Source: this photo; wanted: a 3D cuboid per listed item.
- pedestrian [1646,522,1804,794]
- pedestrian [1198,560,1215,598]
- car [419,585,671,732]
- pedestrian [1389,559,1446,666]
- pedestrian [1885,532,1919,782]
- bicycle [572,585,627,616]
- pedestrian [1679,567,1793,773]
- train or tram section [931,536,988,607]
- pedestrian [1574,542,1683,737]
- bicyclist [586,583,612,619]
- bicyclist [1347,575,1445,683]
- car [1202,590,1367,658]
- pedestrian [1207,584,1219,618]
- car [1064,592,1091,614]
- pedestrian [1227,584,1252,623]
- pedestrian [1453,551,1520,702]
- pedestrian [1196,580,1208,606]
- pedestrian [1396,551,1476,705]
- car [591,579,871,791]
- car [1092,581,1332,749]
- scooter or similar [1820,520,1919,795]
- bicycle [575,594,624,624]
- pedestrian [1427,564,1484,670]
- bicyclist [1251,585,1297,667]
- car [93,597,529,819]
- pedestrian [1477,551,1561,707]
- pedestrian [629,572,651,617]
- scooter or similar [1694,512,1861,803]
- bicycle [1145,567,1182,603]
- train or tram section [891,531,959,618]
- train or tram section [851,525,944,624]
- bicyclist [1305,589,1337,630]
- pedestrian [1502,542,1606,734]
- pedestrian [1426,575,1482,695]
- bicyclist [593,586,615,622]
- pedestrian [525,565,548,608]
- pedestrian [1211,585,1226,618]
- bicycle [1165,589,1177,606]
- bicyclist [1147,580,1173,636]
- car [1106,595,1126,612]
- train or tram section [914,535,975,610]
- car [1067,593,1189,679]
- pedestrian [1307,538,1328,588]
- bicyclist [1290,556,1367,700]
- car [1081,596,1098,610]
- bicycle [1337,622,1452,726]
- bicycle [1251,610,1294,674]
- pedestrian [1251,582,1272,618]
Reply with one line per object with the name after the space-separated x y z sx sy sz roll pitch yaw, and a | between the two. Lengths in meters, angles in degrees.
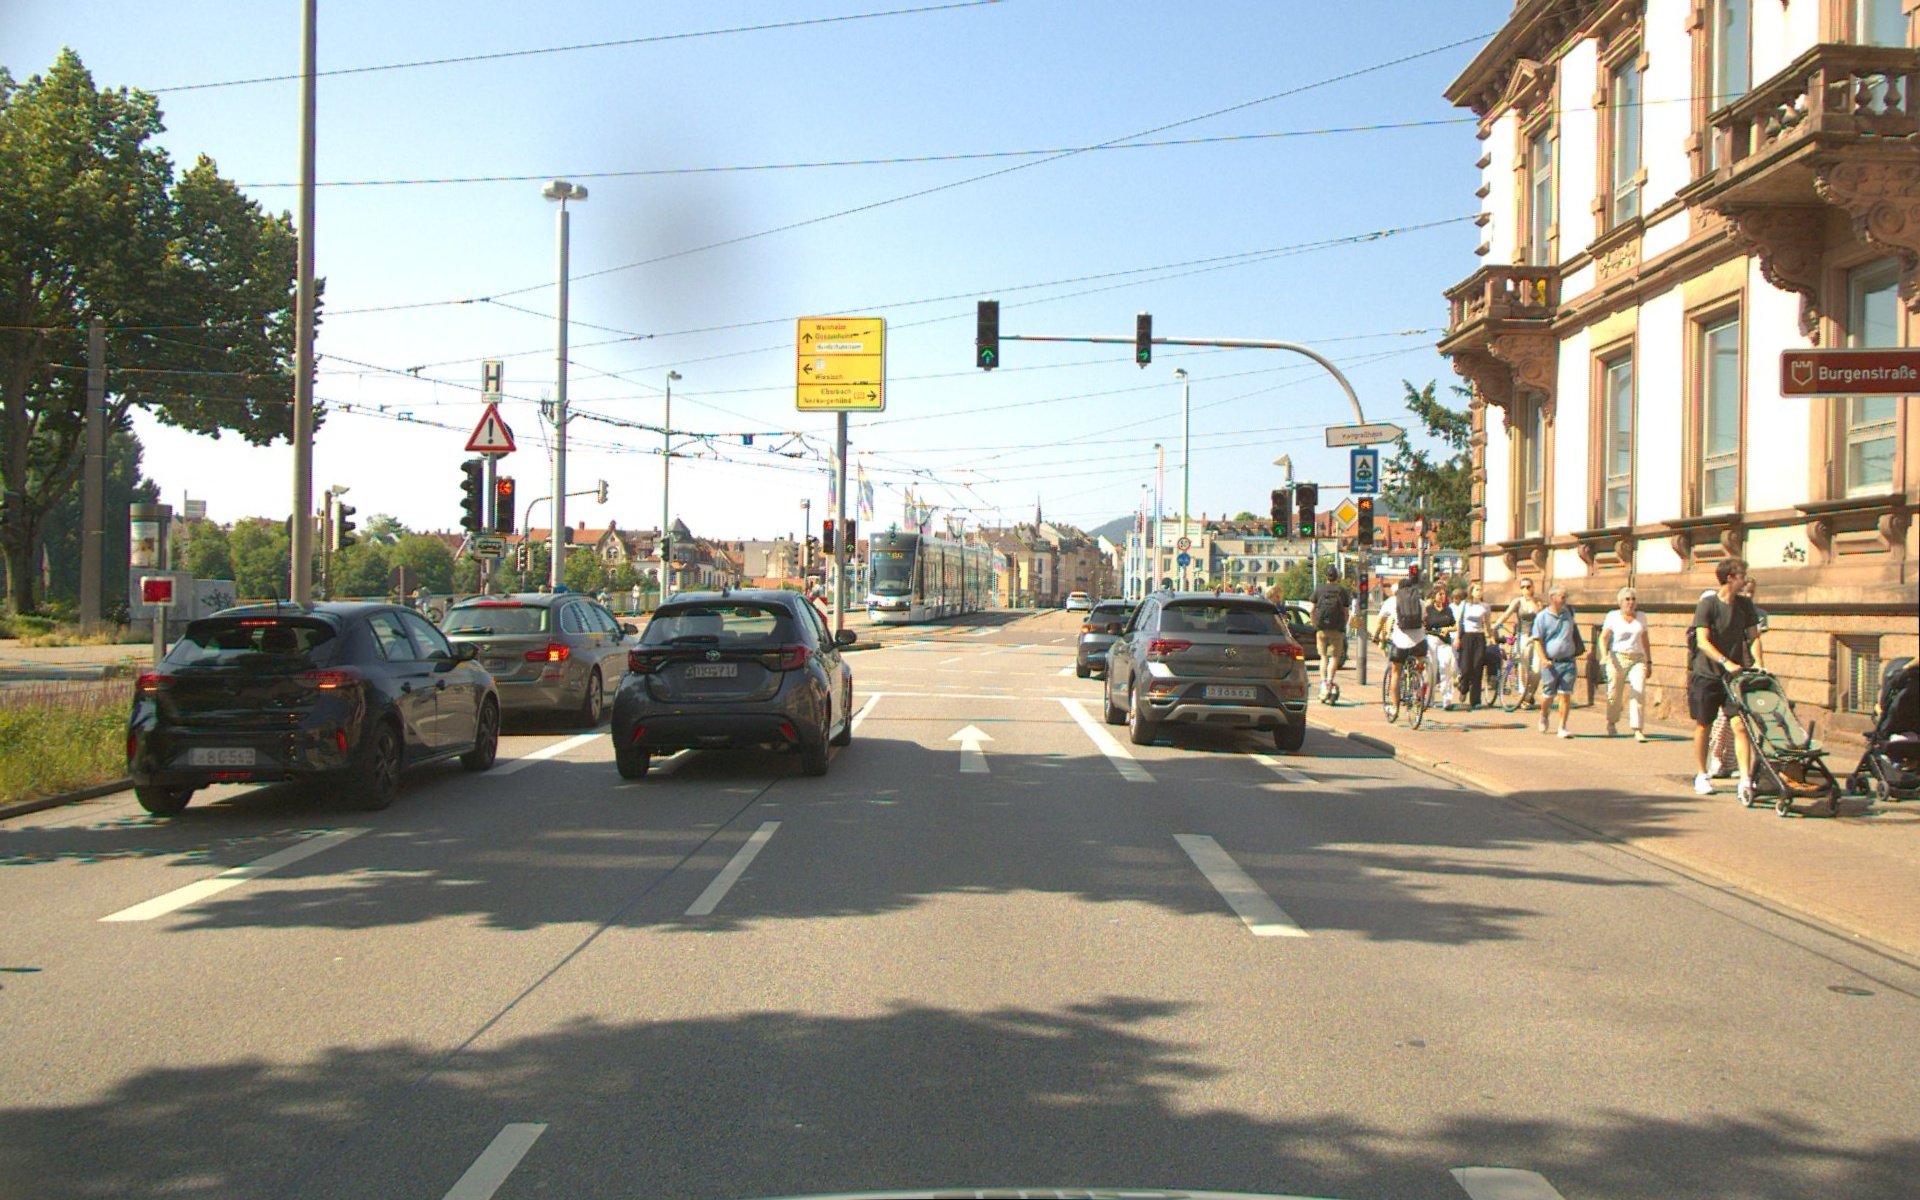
5.989 0.437 12.992 0.795 2.049 0.815 -2 0 -1 | pedestrian
13.462 -1.159 90.329 0.786 2.049 0.954 1 -1 -1 | pedestrian
-4.740 0.587 19.620 1.712 1.512 4.748 -1 0 1 | car
7.803 0.217 28.226 0.691 1.783 0.903 0 -1 -2 | pedestrian
7.385 0.407 12.041 0.795 1.824 0.815 -2 0 -1 | pedestrian
-14.925 0.014 68.475 2.201 1.301 0.737 0 0 -18 | bicycle
6.649 0.587 14.198 0.690 1.724 0.629 0 -1 2 | pedestrian
0.047 -1.665 96.381 2.418 3.843 11.857 0 1 4 | train or tram section
7.275 0.420 18.028 0.795 2.049 0.815 -2 0 -1 | pedestrian
-14.952 0.051 68.508 0.987 1.474 0.812 0 0 -17 | bicyclist
5.151 0.330 19.582 0.902 1.241 0.972 0 0 -1 | bicyclist
7.718 0.527 39.197 1.967 1.461 3.971 2 2 45 | car
13.495 0.049 88.298 0.538 1.830 0.646 1 -1 -1 | pedestrian
8.451 0.214 118.983 1.766 1.494 4.001 -1 -1 2 | car
13.045 0.181 77.204 0.965 1.781 0.930 1 -1 -1 | pedestrian
7.348 0.360 23.088 0.647 2.049 0.699 -2 0 -1 | pedestrian
16.687 -0.499 114.252 0.641 1.774 0.978 1 1 -1 | pedestrian
6.547 0.376 22.760 0.795 2.049 0.815 -2 0 -1 | pedestrian
-1.870 0.645 14.749 1.871 1.567 4.000 -2 0 0 | car
2.595 0.611 17.963 1.890 1.542 3.992 2 0 -1 | car
7.344 0.425 12.908 0.678 2.049 1.095 0 0 -1 | scooter or similar
-15.096 0.369 69.276 1.938 1.230 0.636 0 0 -18 | bicycle
8.537 0.284 28.501 0.691 1.800 0.903 0 0 -2 | pedestrian
6.236 0.504 32.868 0.758 1.580 1.060 1 0 3 | bicyclist
-4.767 0.703 12.814 1.756 1.436 4.000 0 0 1 | car
7.562 0.377 22.394 0.795 2.049 0.815 -2 0 -1 | pedestrian
-14.692 -0.242 75.951 0.884 2.049 0.830 0 0 -17 | pedestrian
5.994 0.400 12.181 0.678 2.049 1.095 0 0 -1 | scooter or similar
6.577 -0.485 53.639 0.776 1.115 3.745 0 1 0 | bicycle
-1.550 -1.189 77.605 2.484 3.843 9.174 0 1 3 | train or tram section
-2.468 -1.061 68.716 2.483 3.843 9.177 0 1 6 | train or tram section
13.747 0.345 62.998 1.057 1.499 0.801 2 1 9 | bicyclist
6.556 0.407 18.287 0.795 2.049 0.815 -2 0 -1 | pedestrian
8.071 0.561 27.057 0.622 1.924 0.903 0 0 -2 | pedestrian
-14.920 0.170 69.337 0.811 1.519 0.872 0 0 -17 | bicyclist
-17.021 -0.552 66.457 0.821 1.726 1.093 0 0 -17 | pedestrian
13.926 0.094 89.024 0.681 1.746 0.731 1 -1 -1 | pedestrian
15.603 -0.173 122.494 0.680 1.214 2.079 0 -1 1 | bicycle
6.381 0.245 52.801 0.659 1.774 1.150 0 0 0 | bicyclist
14.672 0.338 155.447 1.765 1.494 4.003 -1 -1 7 | car
-0.737 -1.436 86.824 2.353 3.745 9.625 0 1 4 | train or tram section
3.093 0.631 31.236 1.952 1.512 4.001 0 0 1 | car
13.770 -1.417 63.760 0.757 1.888 0.645 0 0 8 | pedestrian
5.301 0.392 23.841 0.922 2.049 0.830 0 0 -1 | bicyclist
16.120 0.374 206.057 1.952 1.747 4.001 1 0 3 | car
5.143 0.843 19.700 0.763 1.121 2.138 0 0 -2 | bicycle
6.232 0.820 33.037 0.602 1.185 2.251 1 0 5 | bicycle
14.033 -0.016 76.957 0.783 1.663 0.949 1 0 -1 | pedestrian
